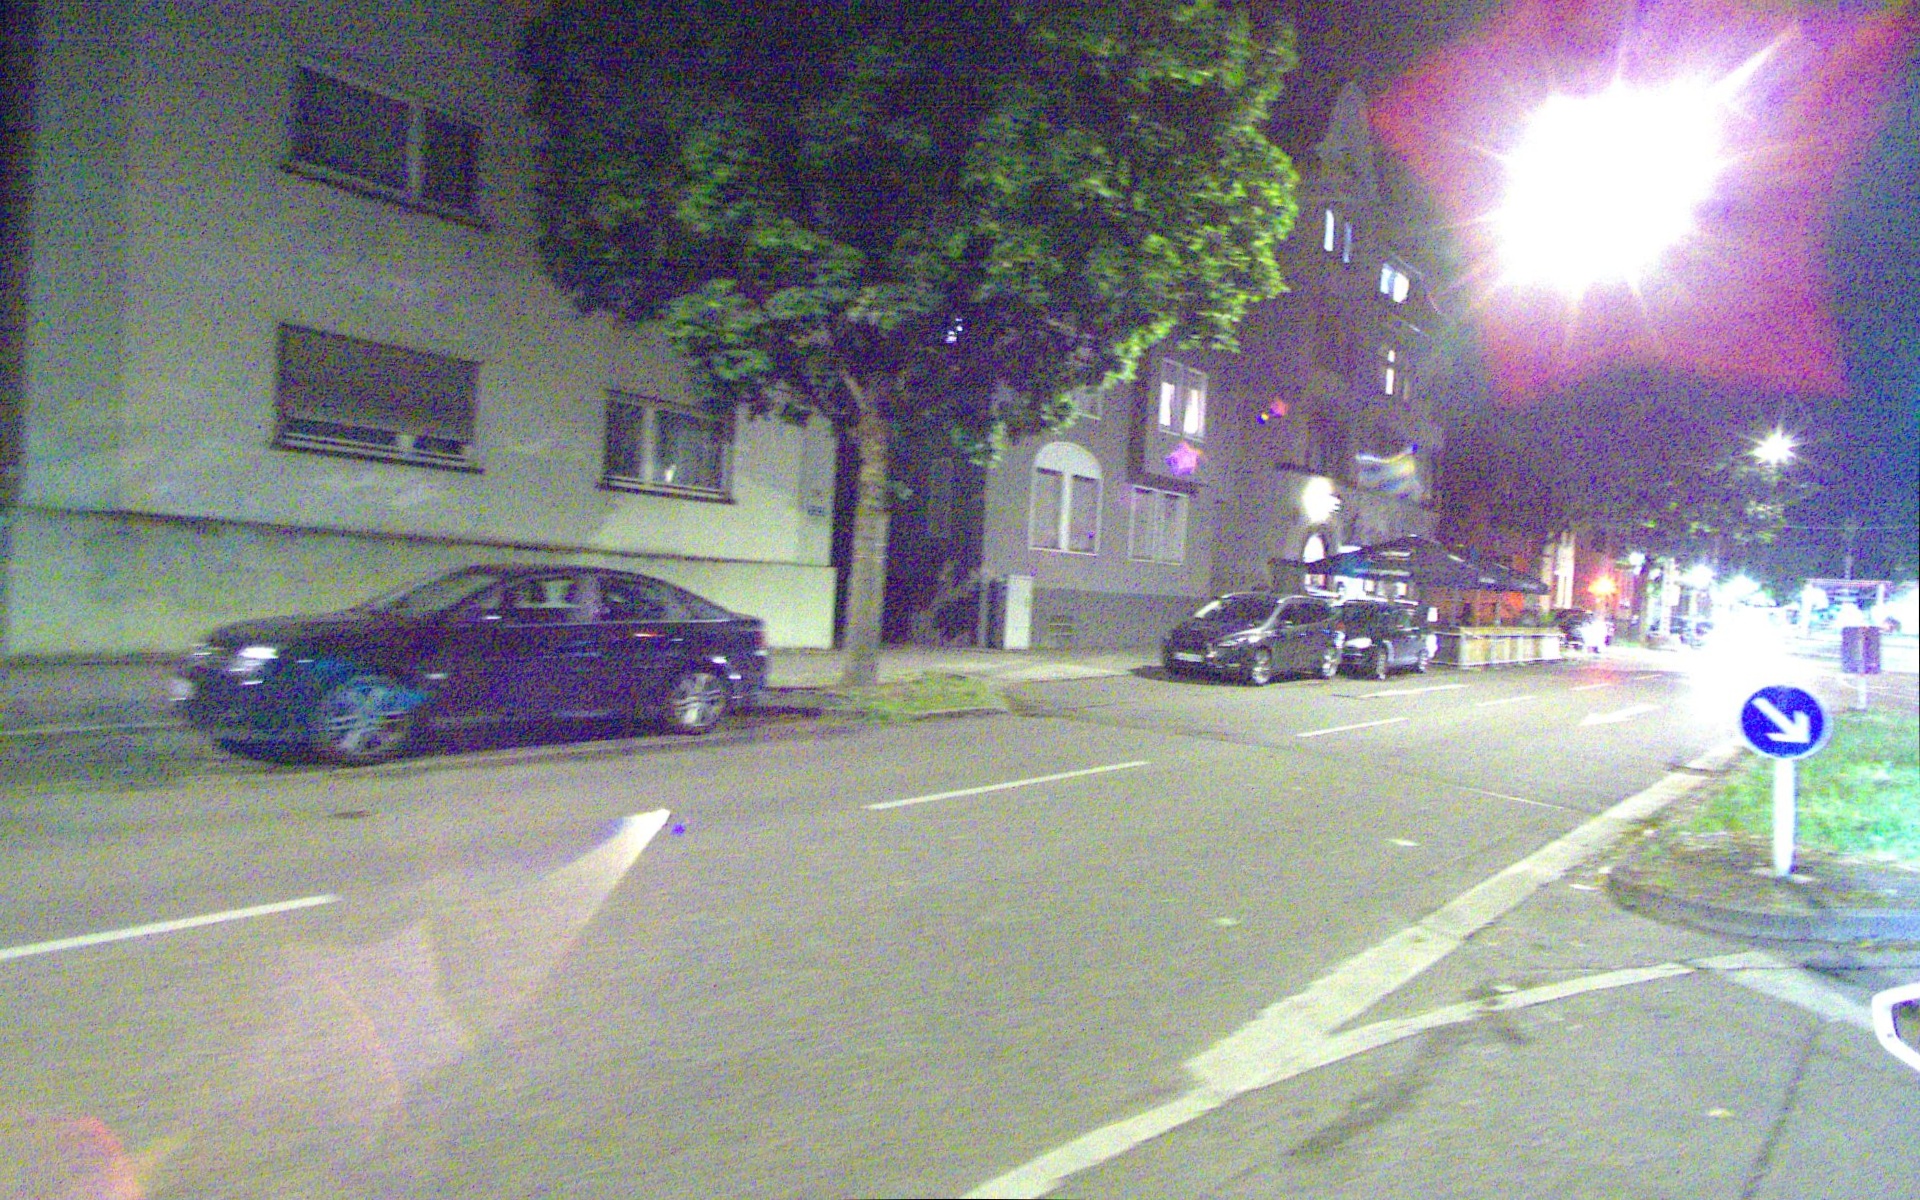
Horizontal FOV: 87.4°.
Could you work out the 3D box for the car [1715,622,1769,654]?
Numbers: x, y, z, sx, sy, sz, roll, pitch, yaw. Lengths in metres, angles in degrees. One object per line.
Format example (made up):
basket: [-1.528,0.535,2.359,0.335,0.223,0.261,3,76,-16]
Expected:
car: [39.038,1.879,50.129,1.697,1.449,3.976,2,1,44]

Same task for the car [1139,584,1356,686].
car: [5.268,0.597,18.052,1.841,1.499,4.446,5,2,44]

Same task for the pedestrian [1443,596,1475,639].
pedestrian: [20.607,0.717,41.487,1.113,1.713,0.704,2,2,-36]

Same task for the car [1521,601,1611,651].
car: [22.619,0.977,37.453,3.998,1.617,1.867,2,3,-45]

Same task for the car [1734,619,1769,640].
car: [61.435,2.299,77.938,1.764,1.434,4.104,6,3,42]

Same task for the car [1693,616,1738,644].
car: [47.158,1.867,62.686,1.765,1.511,3.978,8,4,42]

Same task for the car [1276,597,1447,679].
car: [8.719,0.780,21.614,1.841,1.452,4.417,6,3,44]

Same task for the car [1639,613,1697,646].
car: [37.037,1.542,52.516,3.672,1.511,1.578,2,4,-42]

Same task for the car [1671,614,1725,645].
car: [42.995,1.711,58.509,4.301,1.511,1.767,2,5,-45]

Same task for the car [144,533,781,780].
car: [-3.843,0.353,8.404,1.839,1.452,4.381,6,3,41]
